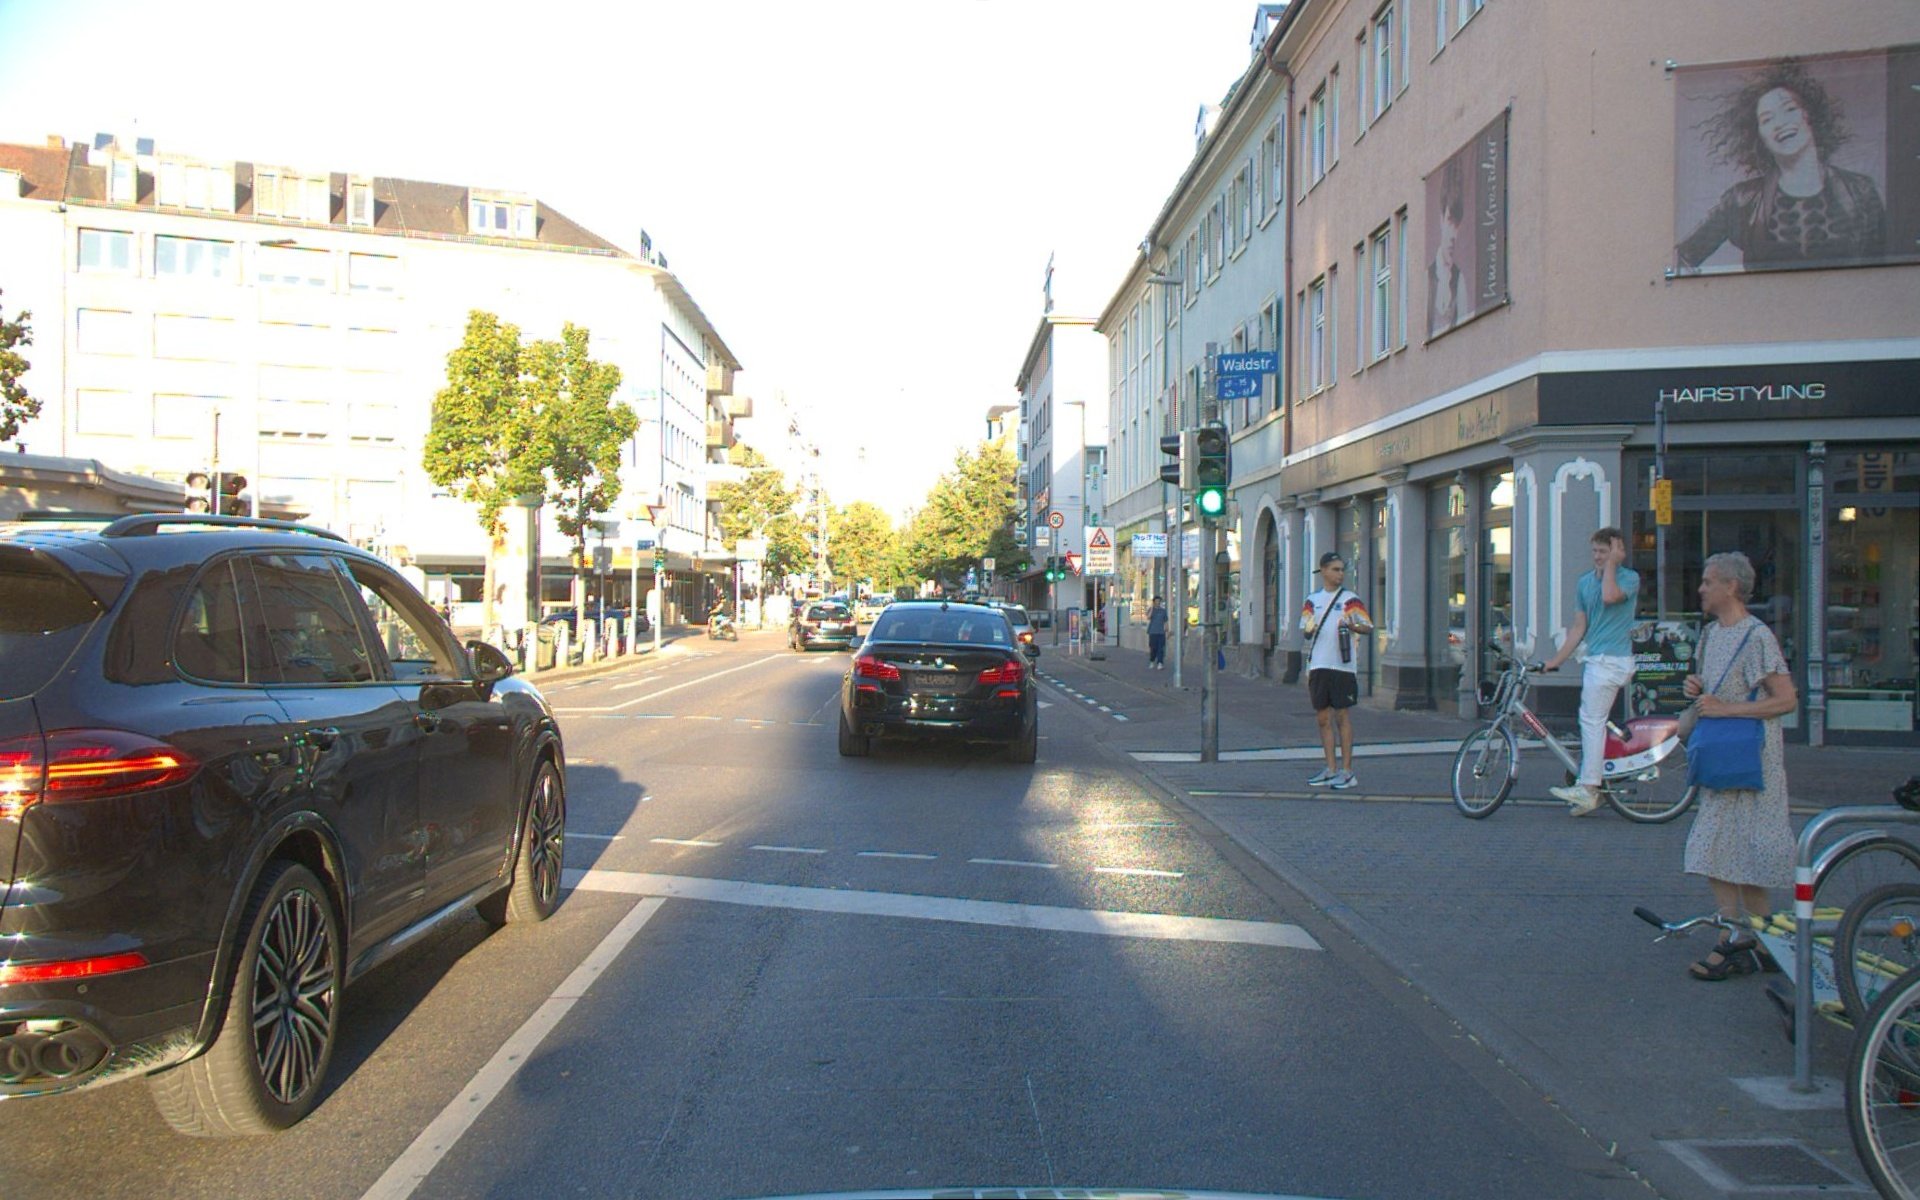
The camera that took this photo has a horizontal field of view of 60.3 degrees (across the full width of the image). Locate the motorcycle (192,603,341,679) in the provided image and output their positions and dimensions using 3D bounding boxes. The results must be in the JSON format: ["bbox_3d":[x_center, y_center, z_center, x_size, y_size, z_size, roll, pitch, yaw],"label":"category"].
[{"bbox_3d":[-13.520,0.797,32.270,2.528,1.454,0.868,0,0,0],"label":"motorcycle"}]

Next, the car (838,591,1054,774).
[{"bbox_3d":[-0.205,0.716,16.591,1.865,1.567,4.447,1,0,-2],"label":"car"}]

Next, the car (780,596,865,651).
[{"bbox_3d":[-4.276,0.693,50.858,1.842,1.623,4.431,1,0,-15],"label":"car"}]

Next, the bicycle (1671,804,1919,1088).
[{"bbox_3d":[3.132,1.103,5.524,0.986,0.693,1.048,0,0,-10],"label":"bicycle"}]

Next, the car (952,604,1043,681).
[{"bbox_3d":[0.792,0.906,37.166,1.796,1.603,4.098,1,0,-2],"label":"car"}]

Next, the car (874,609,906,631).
[{"bbox_3d":[-4.468,1.250,105.287,1.701,1.315,3.994,0,0,-7],"label":"car"}]

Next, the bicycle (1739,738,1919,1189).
[{"bbox_3d":[3.256,0.959,4.770,1.751,1.082,0.716,-1,0,-13],"label":"bicycle"}]

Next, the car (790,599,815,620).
[{"bbox_3d":[-11.421,0.647,119.849,1.701,1.487,3.994,1,0,-7],"label":"car"}]

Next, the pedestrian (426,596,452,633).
[{"bbox_3d":[-22.277,0.628,70.726,0.934,1.564,0.901,1,-1,-26],"label":"pedestrian"}]

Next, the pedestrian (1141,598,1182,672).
[{"bbox_3d":[4.638,0.801,38.068,0.807,1.670,0.871,0,0,-3],"label":"pedestrian"}]

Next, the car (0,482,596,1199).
[{"bbox_3d":[-2.728,0.618,5.829,1.909,1.744,4.561,0,0,-1],"label":"car"}]

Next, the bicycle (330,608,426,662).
[{"bbox_3d":[-14.040,0.846,39.955,1.964,1.278,0.949,0,0,0],"label":"bicycle"}]

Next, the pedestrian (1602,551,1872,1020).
[{"bbox_3d":[3.057,0.668,6.502,0.778,1.682,0.775,0,-1,42],"label":"pedestrian"}]

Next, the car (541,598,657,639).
[{"bbox_3d":[-13.905,0.693,63.758,3.904,1.512,2.000,1,0,20],"label":"car"}]

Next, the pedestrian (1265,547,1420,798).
[{"bbox_3d":[3.073,0.563,13.320,0.927,1.931,0.818,0,-1,-29],"label":"pedestrian"}]

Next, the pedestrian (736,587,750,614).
[{"bbox_3d":[-13.944,0.012,106.129,0.807,1.706,0.871,0,0,-2],"label":"pedestrian"}]

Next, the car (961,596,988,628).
[{"bbox_3d":[0.862,0.757,101.836,1.393,1.887,3.050,1,-1,-4],"label":"car"}]

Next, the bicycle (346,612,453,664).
[{"bbox_3d":[-13.968,0.930,41.262,2.393,1.278,0.787,0,0,0],"label":"bicycle"}]

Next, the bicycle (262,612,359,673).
[{"bbox_3d":[-13.907,0.907,35.419,1.815,1.278,0.633,0,0,0],"label":"bicycle"}]

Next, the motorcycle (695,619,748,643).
[{"bbox_3d":[-8.505,1.097,58.941,1.994,0.794,0.661,1,0,38],"label":"motorcycle"}]

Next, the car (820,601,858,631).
[{"bbox_3d":[-6.822,0.896,92.941,1.955,1.646,3.994,0,0,-7],"label":"car"}]

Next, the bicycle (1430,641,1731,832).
[{"bbox_3d":[4.156,0.894,11.210,1.781,1.207,0.794,0,0,8],"label":"bicycle"}]

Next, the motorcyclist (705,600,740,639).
[{"bbox_3d":[-8.462,0.689,58.944,0.976,1.343,0.764,0,0,39],"label":"motorcyclist"}]

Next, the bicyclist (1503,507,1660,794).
[{"bbox_3d":[4.174,0.323,11.169,0.815,1.858,0.831,0,0,7],"label":"bicyclist"}]

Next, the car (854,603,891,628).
[{"bbox_3d":[-5.231,0.922,98.503,1.955,1.467,3.994,0,0,-7],"label":"car"}]

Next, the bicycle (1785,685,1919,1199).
[{"bbox_3d":[2.947,0.839,3.826,1.808,1.261,0.638,0,0,-7],"label":"bicycle"}]
